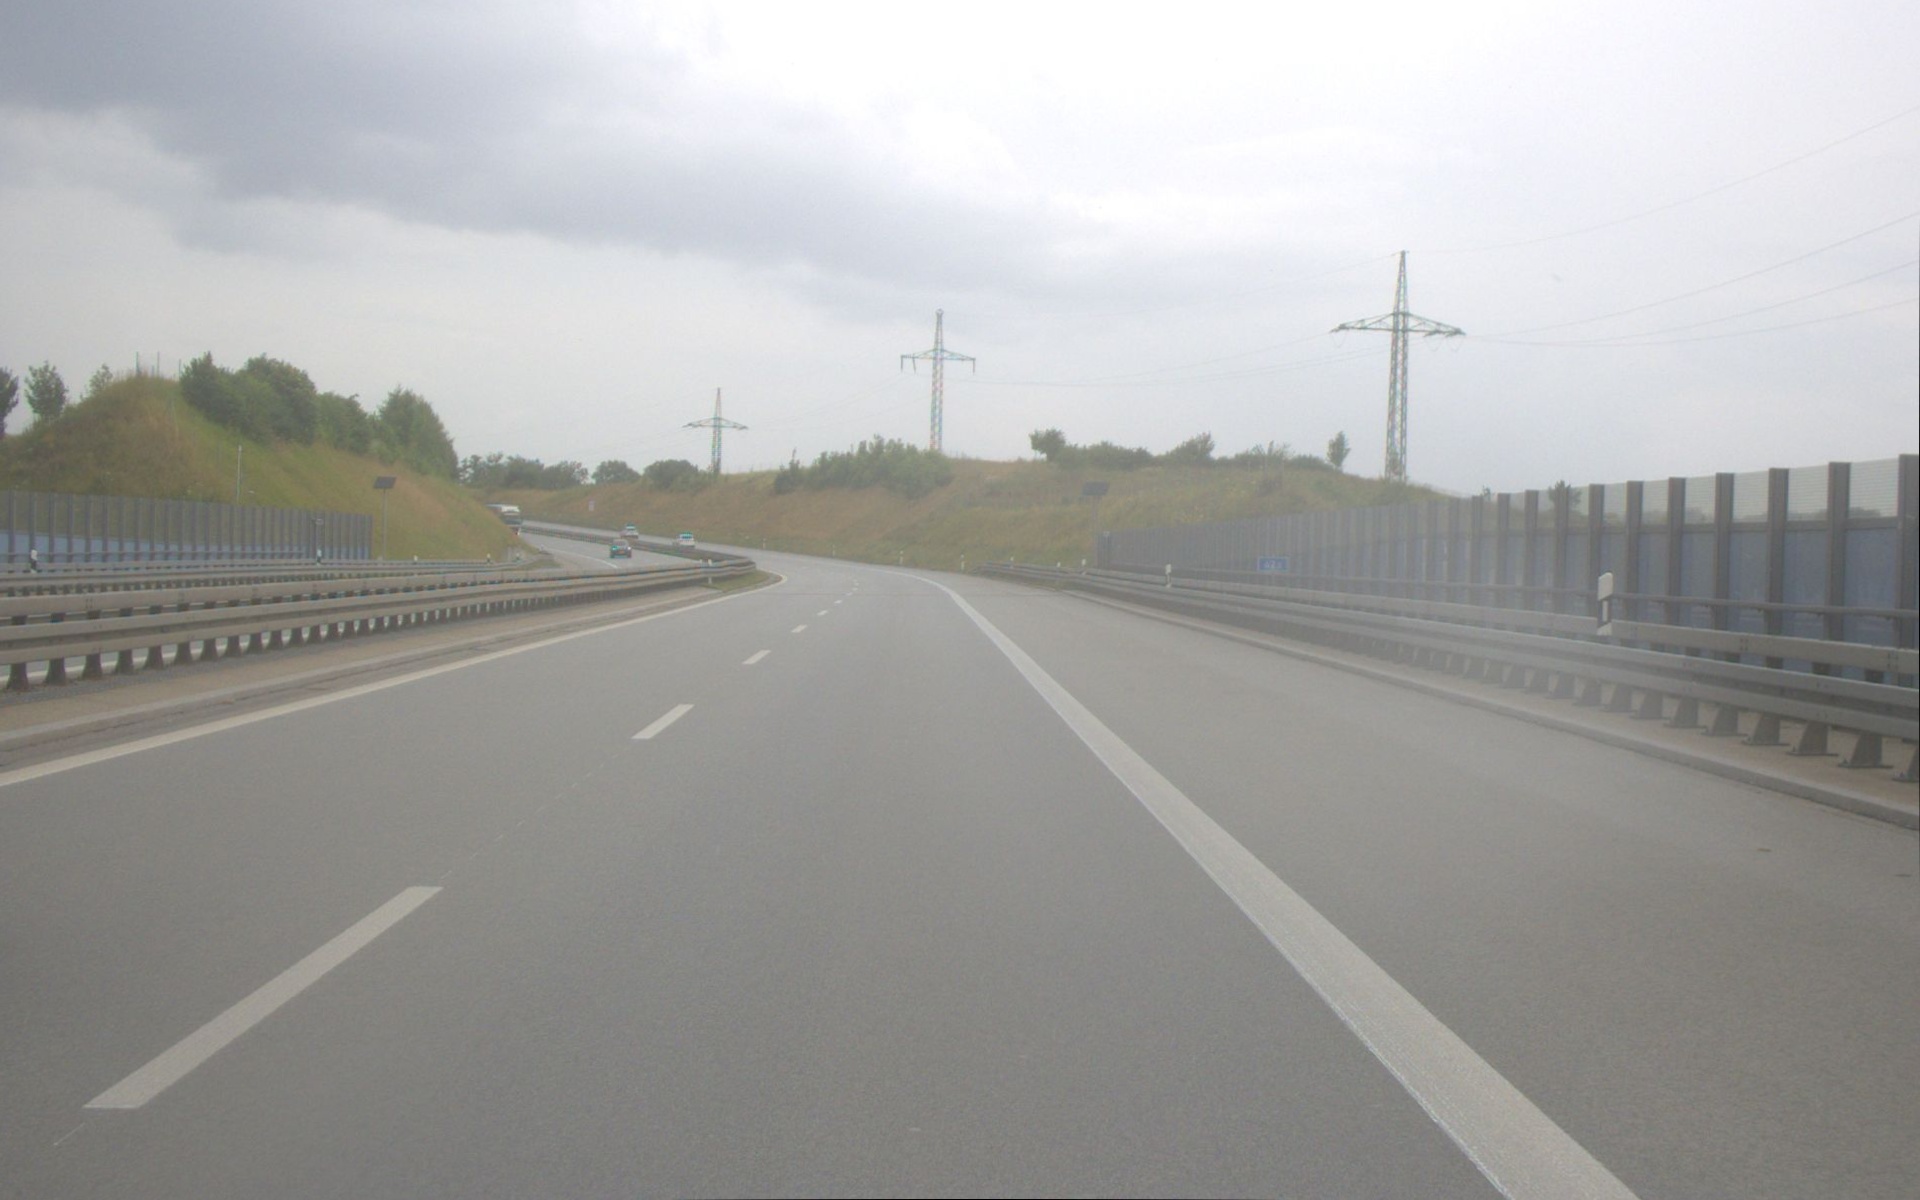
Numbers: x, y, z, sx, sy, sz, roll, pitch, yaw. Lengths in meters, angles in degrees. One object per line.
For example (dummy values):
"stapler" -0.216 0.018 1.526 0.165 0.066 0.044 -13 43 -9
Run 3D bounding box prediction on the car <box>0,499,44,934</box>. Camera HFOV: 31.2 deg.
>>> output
"car" -4.556 0.476 11.040 1.896 1.665 5.397 1 1 -1
